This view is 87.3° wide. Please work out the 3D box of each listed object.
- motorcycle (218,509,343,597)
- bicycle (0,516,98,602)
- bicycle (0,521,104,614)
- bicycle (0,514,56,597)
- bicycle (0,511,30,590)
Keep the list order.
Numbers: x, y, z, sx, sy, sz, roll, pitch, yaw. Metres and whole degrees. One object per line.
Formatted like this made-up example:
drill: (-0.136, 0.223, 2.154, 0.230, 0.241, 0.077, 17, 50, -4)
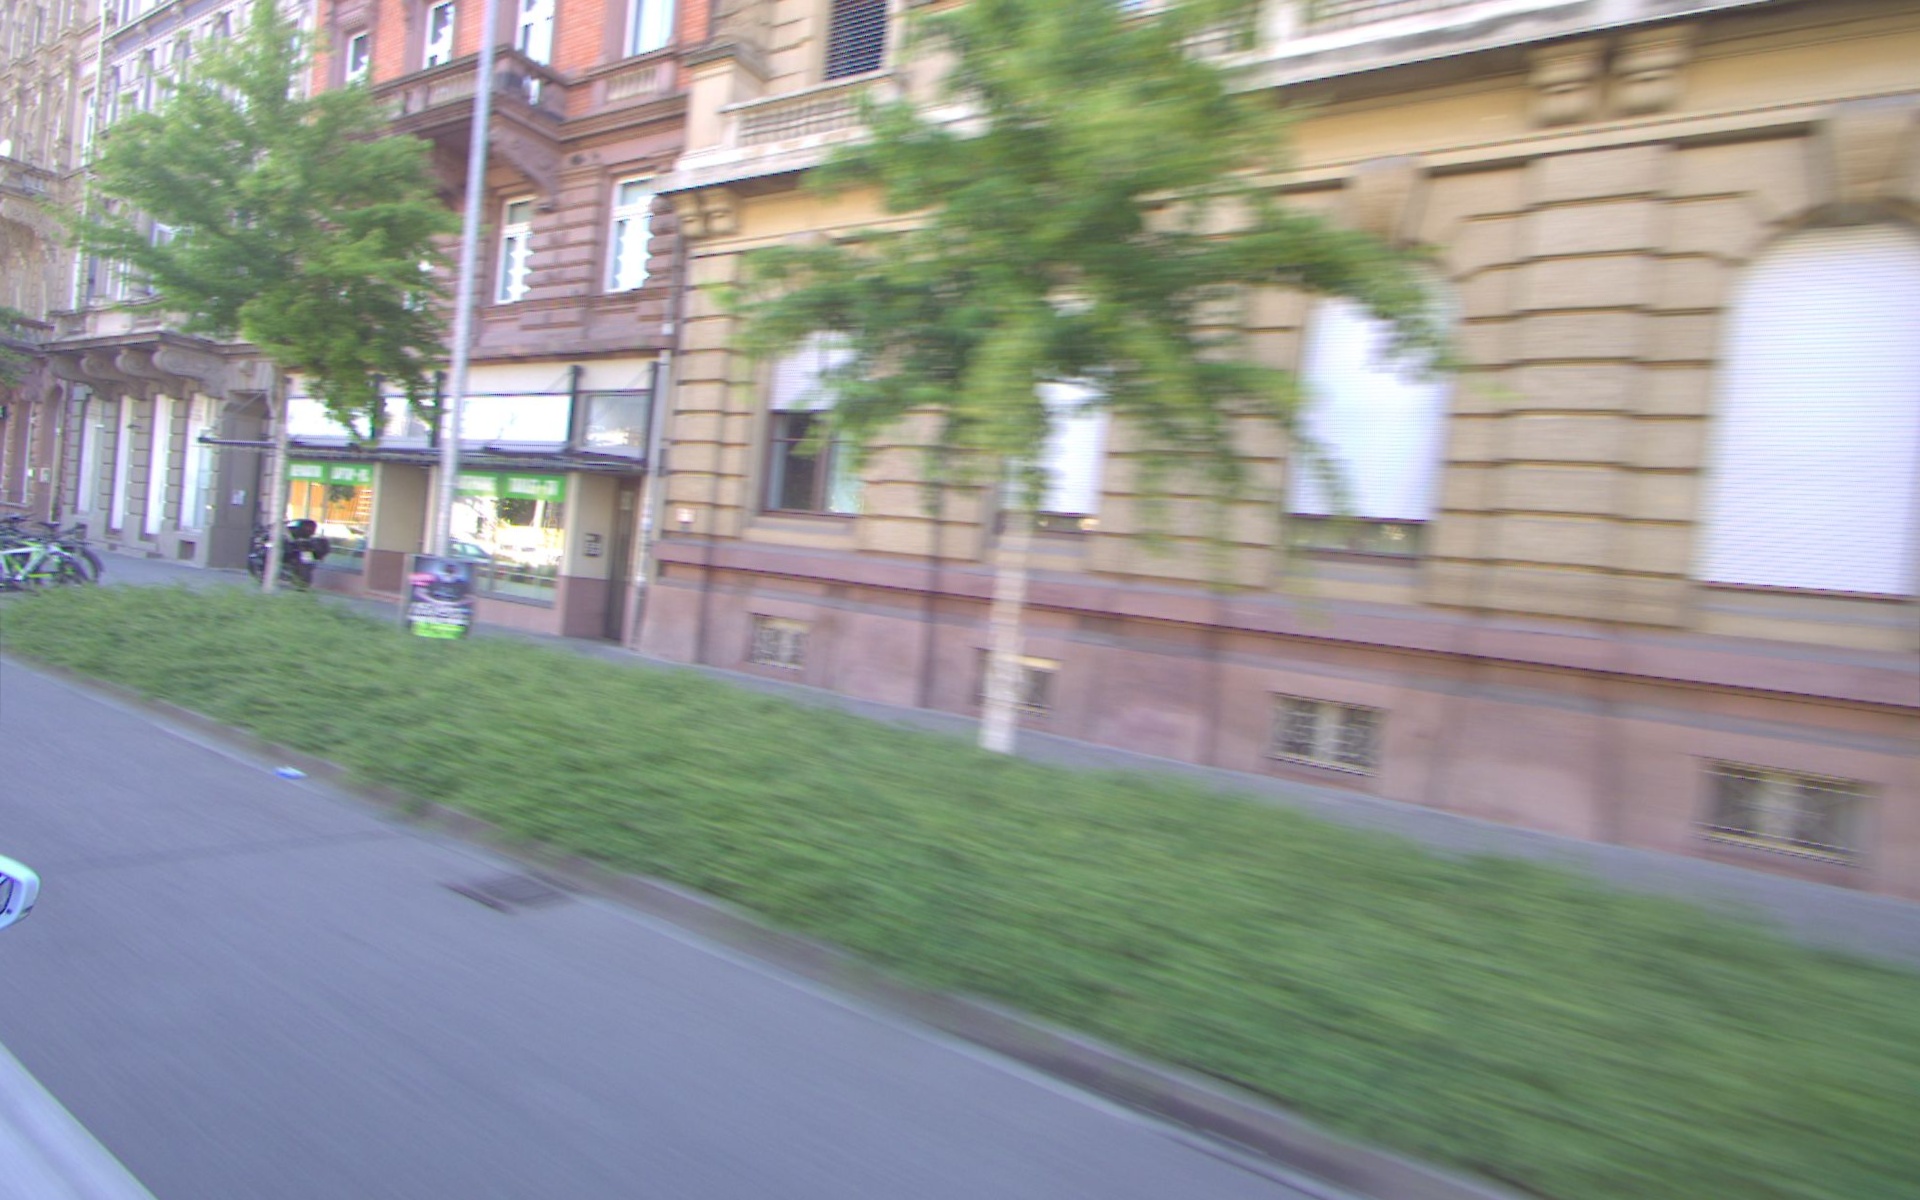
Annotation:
motorcycle: (-12.560, -0.878, 18.559, 2.804, 1.326, 0.794, 8, 4, 32)
bicycle: (-12.230, -0.530, 12.916, 0.480, 1.062, 1.694, 7, 3, 24)
bicycle: (-11.220, -0.387, 11.896, 0.480, 1.062, 1.578, 7, 3, 24)
bicycle: (-12.797, -0.597, 12.997, 0.480, 1.062, 1.578, 7, 3, 24)
bicycle: (-13.737, -0.703, 13.556, 0.481, 1.063, 1.690, 7, 4, 32)
